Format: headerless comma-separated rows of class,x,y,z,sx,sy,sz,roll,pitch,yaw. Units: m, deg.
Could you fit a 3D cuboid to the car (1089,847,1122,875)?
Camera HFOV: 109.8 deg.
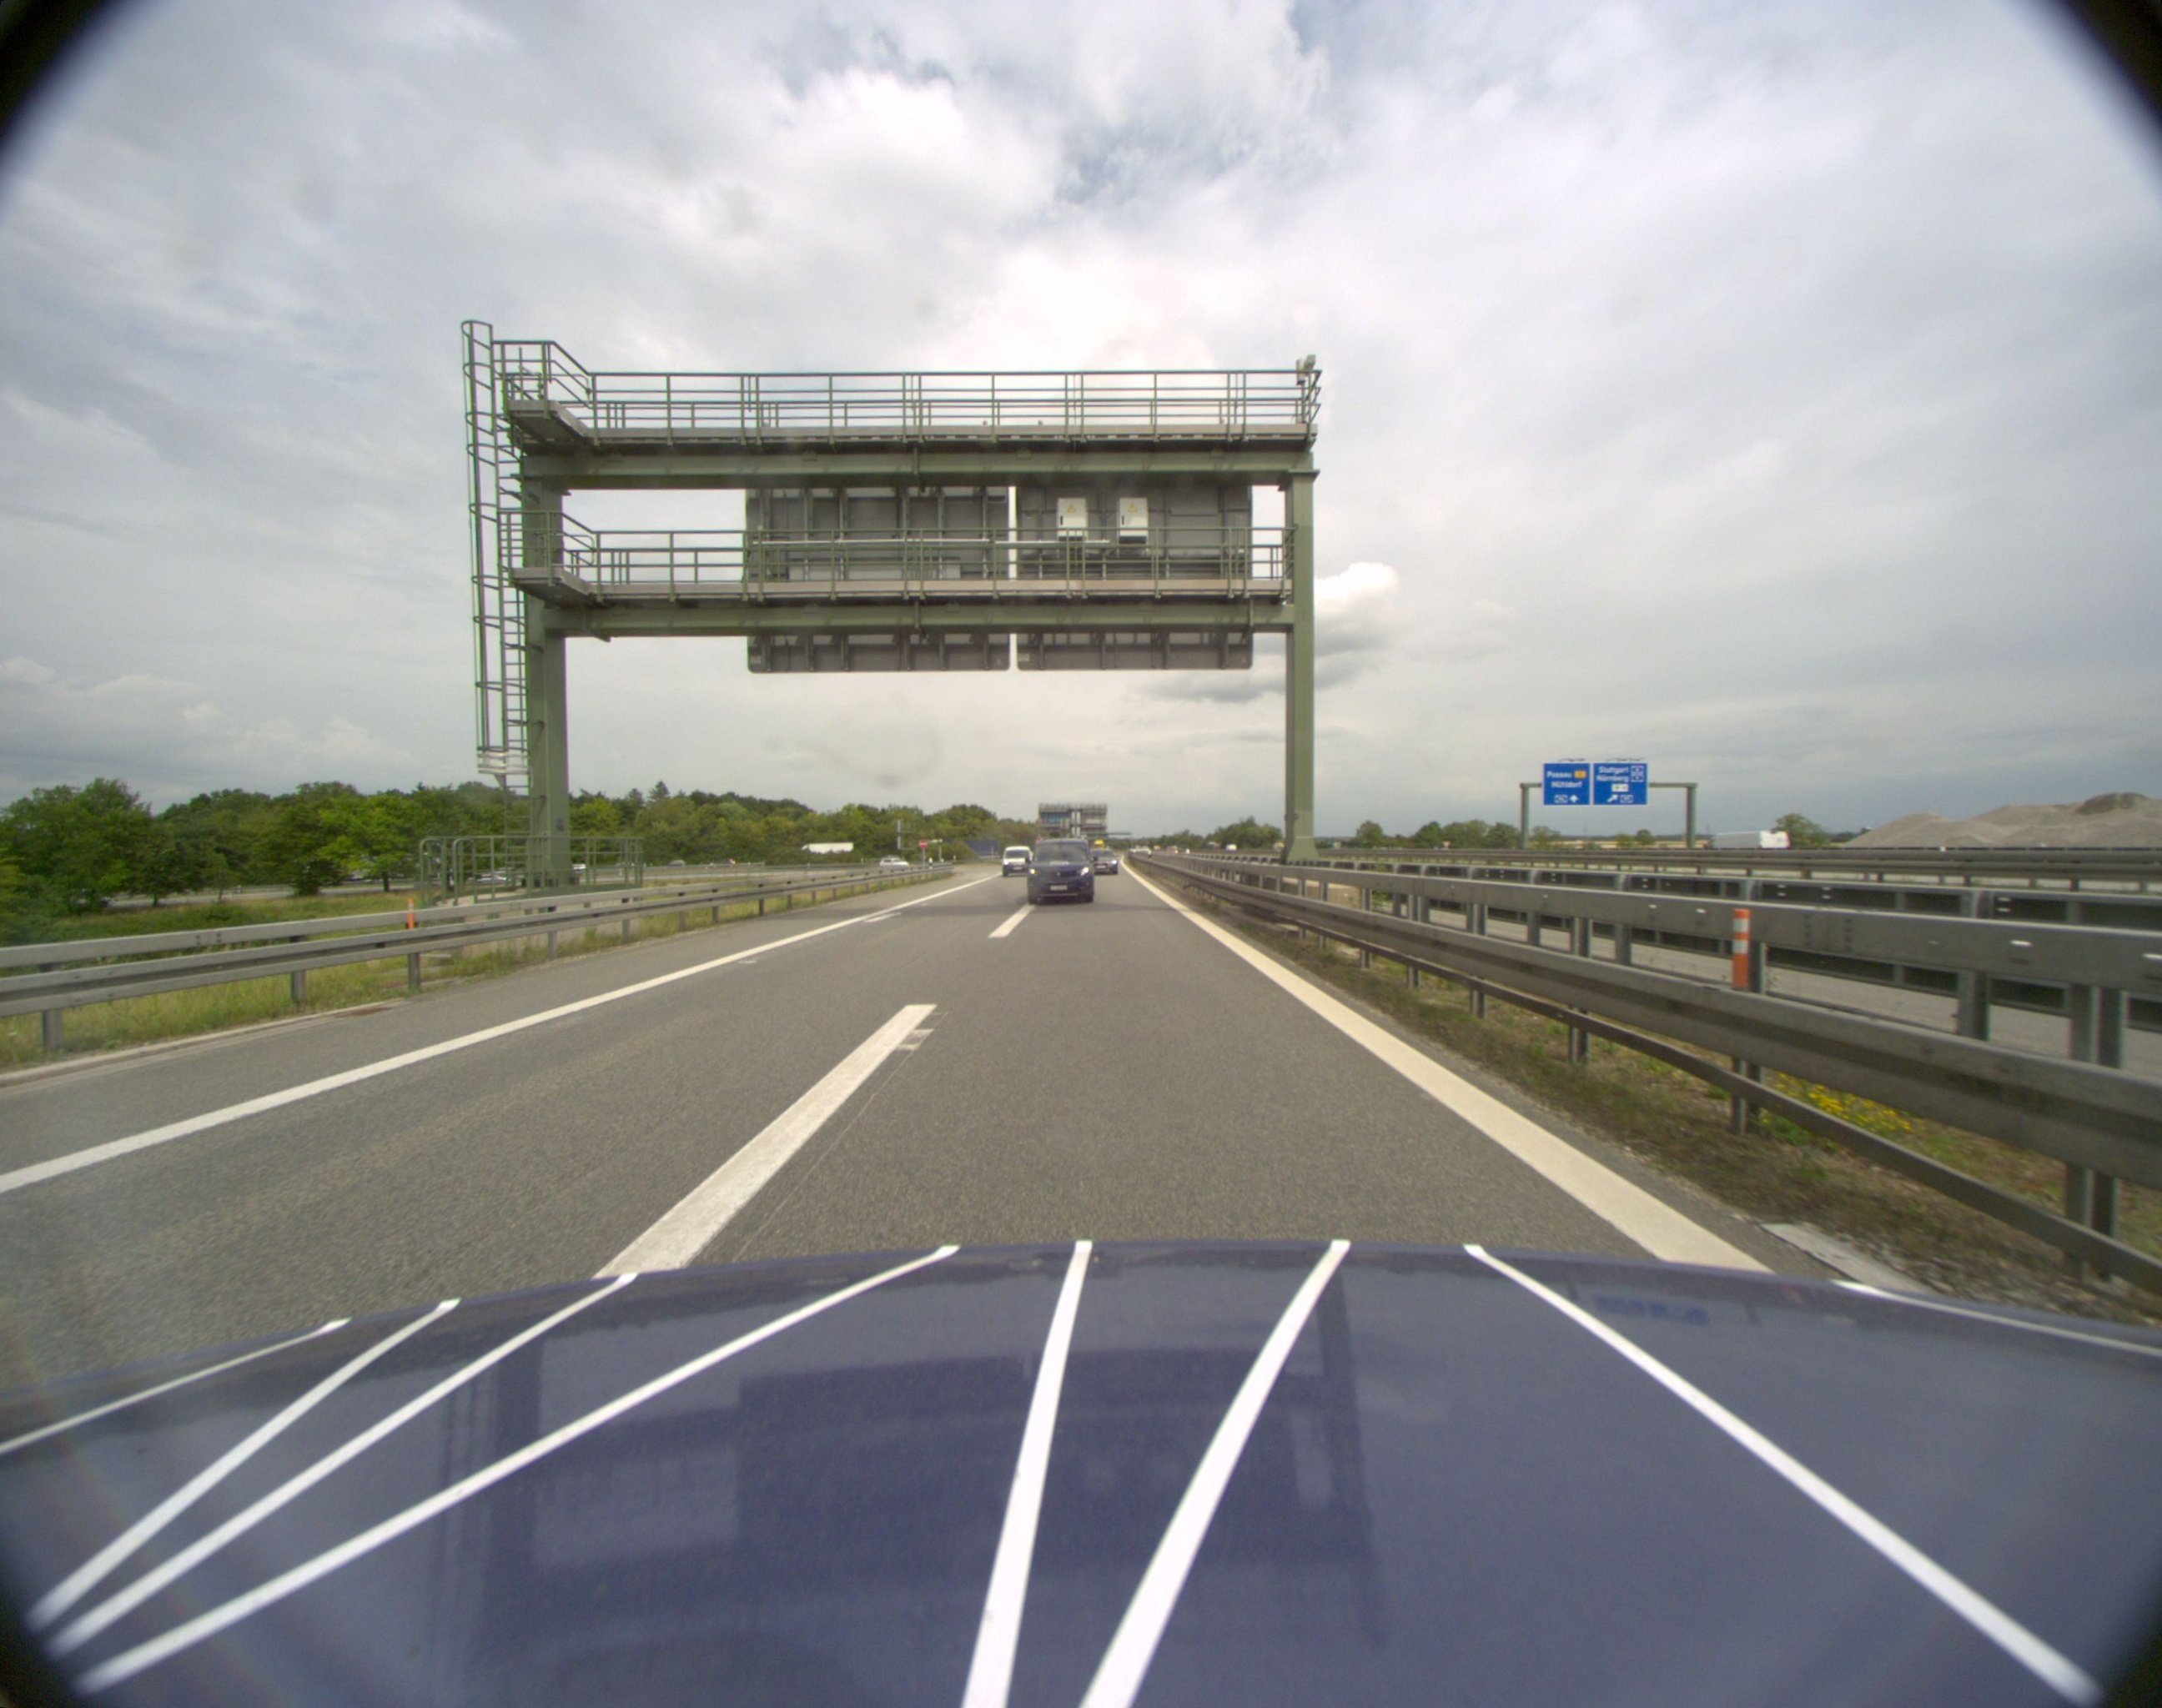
car,1.336,0.357,42.974,1.747,1.381,3.999,-2,2,1

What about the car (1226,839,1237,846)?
car,41.858,-3.193,211.913,2.106,1.849,4.749,-2,1,0

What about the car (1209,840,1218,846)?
car,41.394,-3.531,237.419,1.831,1.849,3.998,-2,1,-3

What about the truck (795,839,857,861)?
truck,-44.333,-0.653,132.217,9.886,3.383,2.690,-3,1,-23

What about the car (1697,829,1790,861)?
car,49.519,-0.690,56.998,2.201,2.211,5.516,-2,1,1

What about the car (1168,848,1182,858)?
car,16.475,-0.179,133.417,1.824,1.537,4.353,-2,1,-1

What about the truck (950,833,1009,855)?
truck,-19.720,-2.072,147.956,11.814,3.836,2.839,-3,2,-43

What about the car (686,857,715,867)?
car,-62.882,1.288,125.625,4.004,1.442,1.555,-3,1,-23

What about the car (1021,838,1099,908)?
car,-0.528,0.483,22.180,1.998,1.783,3.999,-2,1,1

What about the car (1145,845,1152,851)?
car,22.000,-1.981,249.025,1.998,2.002,4.465,-2,1,1

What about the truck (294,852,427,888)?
truck,-100.274,2.115,106.191,13.036,4.218,2.688,-3,1,-32

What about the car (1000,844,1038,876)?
car,-3.663,0.323,45.677,1.862,1.736,3.999,-3,1,0

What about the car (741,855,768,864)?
car,-55.004,0.951,127.990,4.003,1.392,1.556,-3,1,-20

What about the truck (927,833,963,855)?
truck,-25.449,-1.913,142.601,5.939,3.780,2.894,-3,1,-43

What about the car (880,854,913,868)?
car,-22.871,0.865,94.036,4.470,1.532,1.729,-1,1,42

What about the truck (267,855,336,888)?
truck,-105.447,2.348,102.935,5.805,4.155,2.687,-4,1,-31
